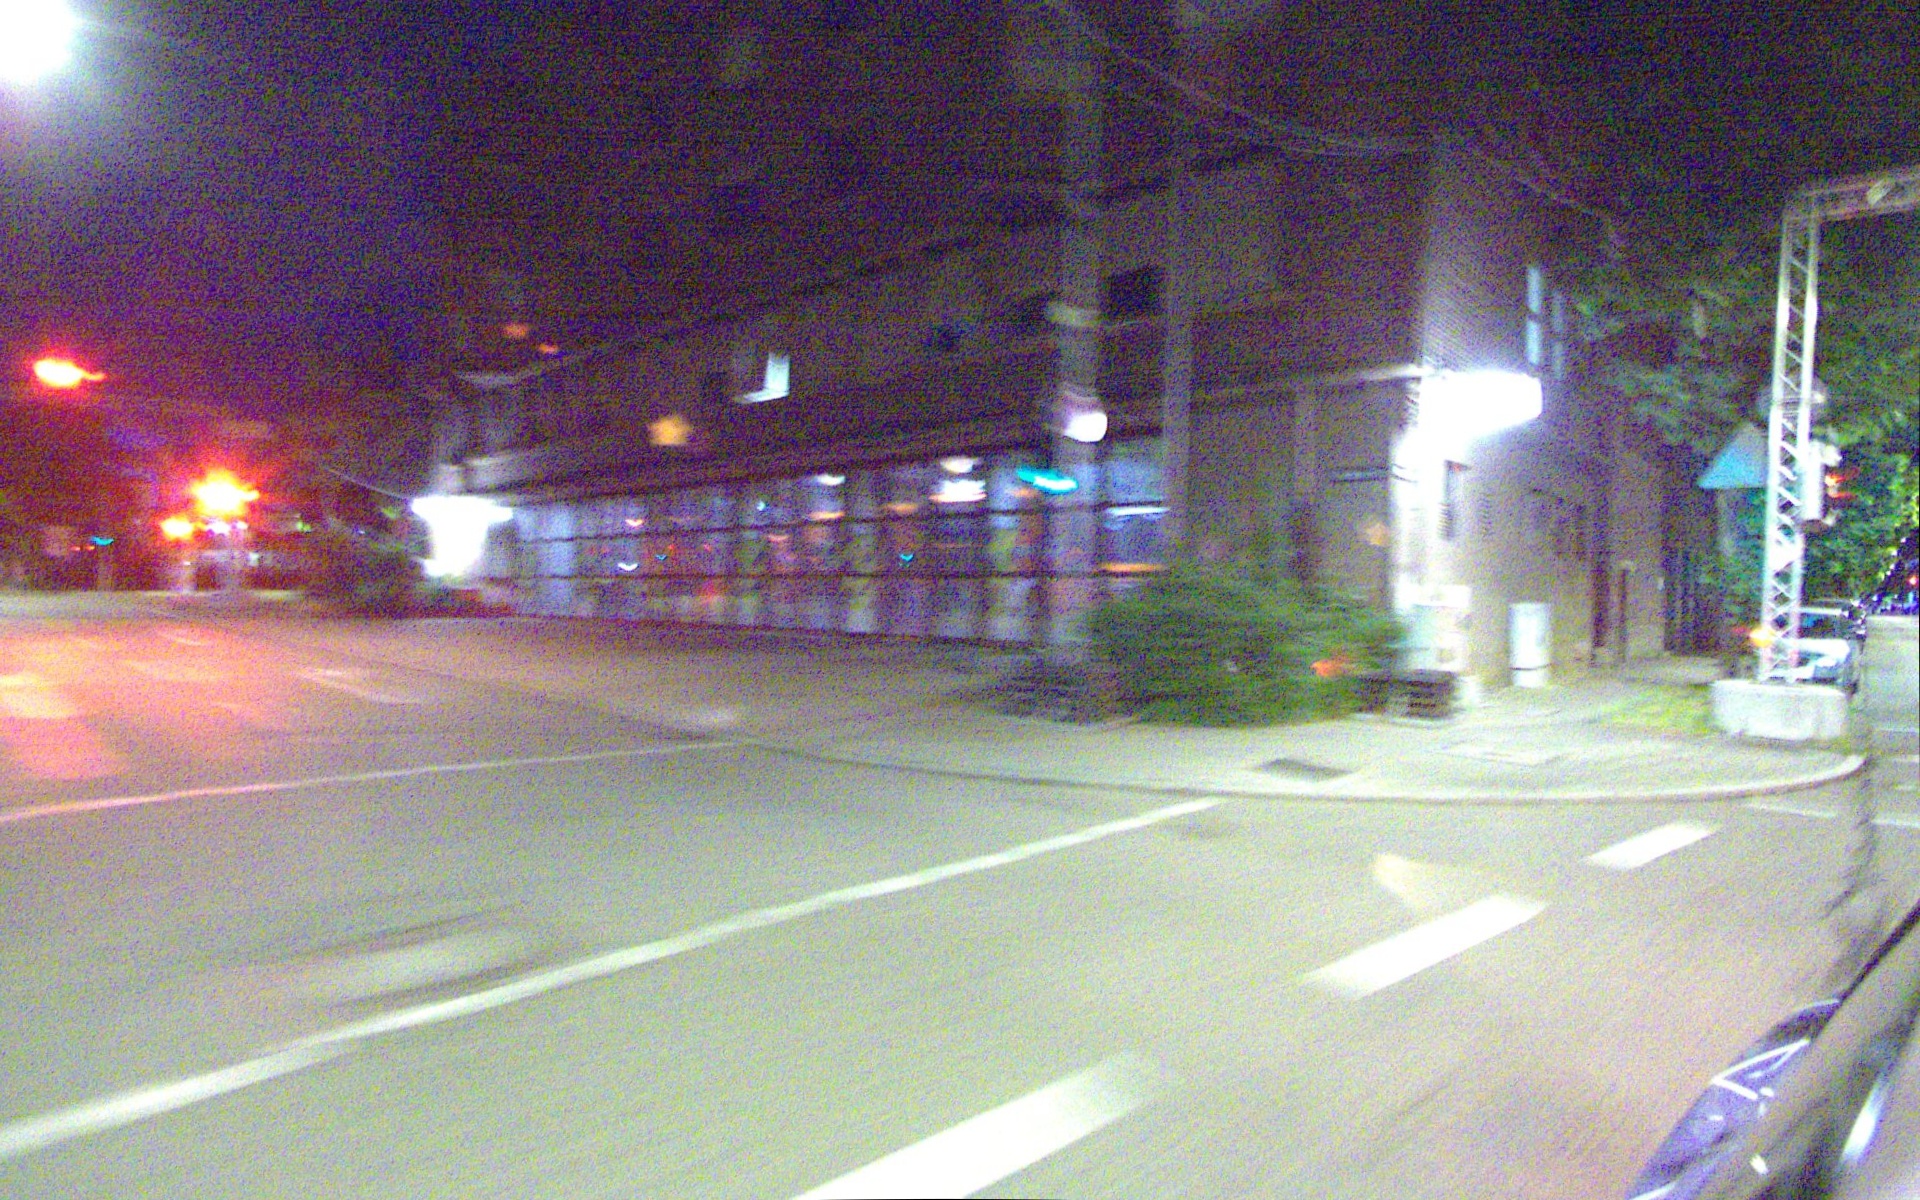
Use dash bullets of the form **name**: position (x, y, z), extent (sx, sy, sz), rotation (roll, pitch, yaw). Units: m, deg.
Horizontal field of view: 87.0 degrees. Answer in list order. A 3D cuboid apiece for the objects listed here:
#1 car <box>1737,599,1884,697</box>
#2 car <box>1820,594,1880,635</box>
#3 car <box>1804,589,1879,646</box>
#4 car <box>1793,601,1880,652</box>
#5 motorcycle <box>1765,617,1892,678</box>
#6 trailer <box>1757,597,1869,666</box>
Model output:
- **car**: position (14.525, 0.735, 17.223), extent (3.734, 1.479, 1.587), rotation (1, 0, -45)
- **car**: position (39.907, 0.618, 45.440), extent (1.927, 1.686, 3.717), rotation (3, 1, 41)
- **car**: position (30.517, 0.572, 35.134), extent (1.774, 1.795, 4.358), rotation (3, 1, 40)
- **car**: position (26.859, 0.764, 30.959), extent (1.776, 1.376, 4.352), rotation (3, 1, 44)
- **motorcycle**: position (17.023, 0.921, 19.848), extent (2.181, 1.145, 0.730), rotation (0, -1, -13)
- **trailer**: position (20.350, 0.709, 24.101), extent (3.670, 1.514, 1.602), rotation (1, -1, -43)
